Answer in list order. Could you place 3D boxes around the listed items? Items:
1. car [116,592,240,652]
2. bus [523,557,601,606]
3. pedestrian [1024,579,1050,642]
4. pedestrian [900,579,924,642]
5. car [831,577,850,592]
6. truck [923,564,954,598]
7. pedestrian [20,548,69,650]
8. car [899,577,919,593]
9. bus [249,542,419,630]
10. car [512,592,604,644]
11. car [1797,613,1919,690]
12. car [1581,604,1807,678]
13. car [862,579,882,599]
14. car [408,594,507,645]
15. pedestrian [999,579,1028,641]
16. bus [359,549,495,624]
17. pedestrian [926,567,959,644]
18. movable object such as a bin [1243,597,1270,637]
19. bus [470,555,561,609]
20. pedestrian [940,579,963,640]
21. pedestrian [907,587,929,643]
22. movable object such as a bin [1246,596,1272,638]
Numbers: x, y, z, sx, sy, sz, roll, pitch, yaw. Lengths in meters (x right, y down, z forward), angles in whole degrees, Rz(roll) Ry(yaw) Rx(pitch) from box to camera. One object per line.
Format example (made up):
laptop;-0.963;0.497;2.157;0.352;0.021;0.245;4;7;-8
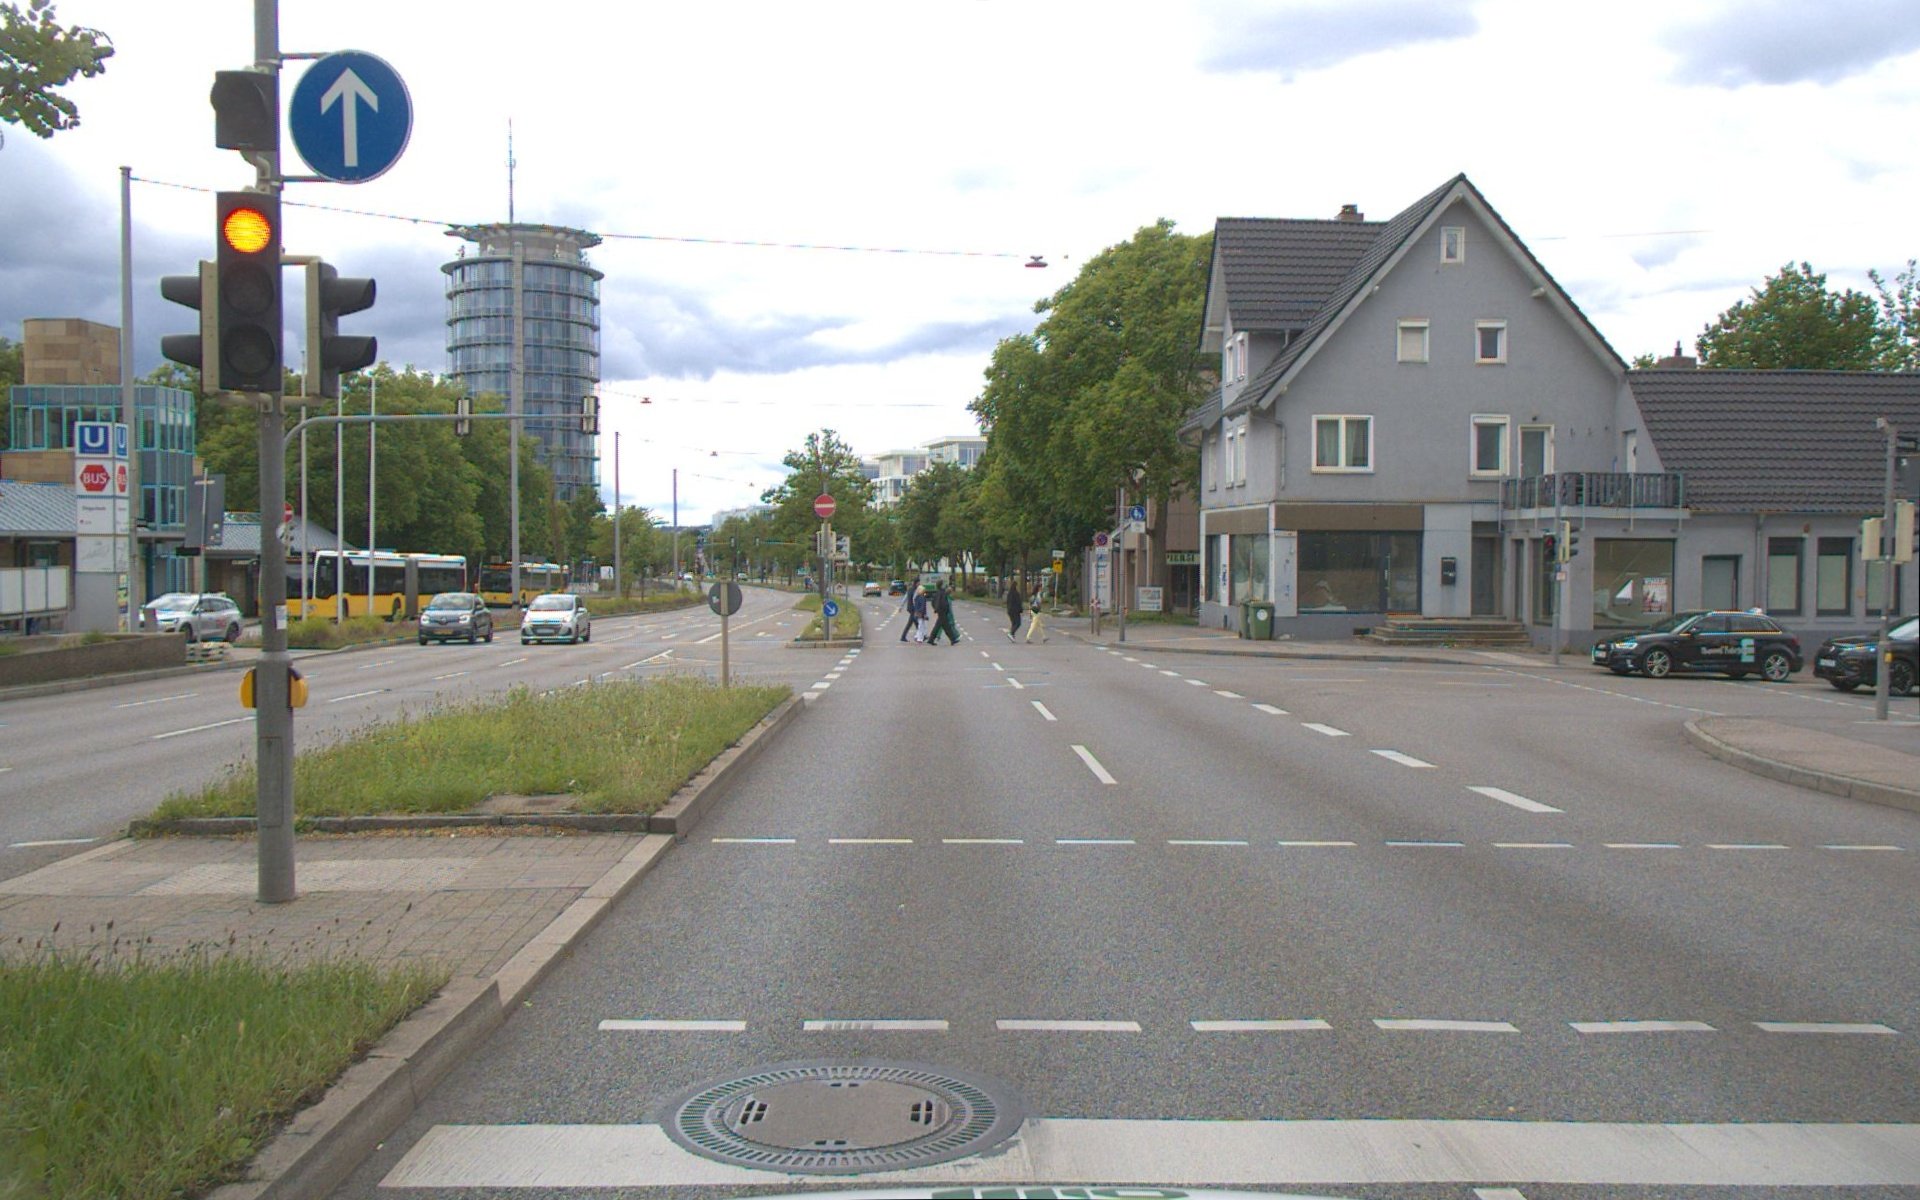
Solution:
car;-23.112;0.616;49.041;1.769;1.691;4.000;0;0;0
bus;-29.812;-1.330;124.385;2.772;3.490;10.737;0;0;3
pedestrian;2.159;0.289;46.392;0.641;1.746;0.451;0;0;-8
pedestrian;-1.334;0.297;46.060;0.601;1.746;0.545;0;0;-8
car;-12.749;-1.692;175.950;1.954;1.545;3.996;0;1;-5
truck;-1.812;-1.638;138.079;2.421;2.656;6.547;1;1;-1
pedestrian;-18.646;-0.024;33.694;0.668;2.049;0.645;0;0;-5
car;-5.071;-1.483;165.918;1.953;1.579;3.999;1;0;-1
bus;-26.944;-0.583;71.937;2.772;3.490;10.737;0;0;3
car;-12.278;0.531;50.746;1.953;1.512;3.998;-1;0;-2
car;18.642;1.013;31.982;4.006;1.395;1.799;2;0;-2
car;15.530;0.852;35.122;4.006;1.395;1.799;2;0;-2
car;-8.777;-1.099;165.305;1.953;1.862;3.998;1;0;-2
car;-15.447;0.566;51.029;1.953;1.512;3.998;-1;0;-2
pedestrian;1.519;0.291;47.113;0.731;1.746;0.582;0;0;-8
bus;-26.406;-0.641;82.649;2.772;3.490;10.737;0;0;3
pedestrian;-0.468;0.137;44.421;0.814;2.049;0.545;0;0;-8
movable object such as a bin;7.997;0.455;44.674;0.603;1.061;0.589;1;0;1
bus;-30.377;-1.184;113.636;2.772;3.490;10.737;0;0;3
pedestrian;-0.249;0.278;48.123;0.572;1.746;0.545;0;0;-8
pedestrian;-1.155;0.414;45.403;0.533;1.522;0.486;0;0;-8
movable object such as a bin;7.962;0.452;44.057;0.592;1.078;0.589;1;0;1
